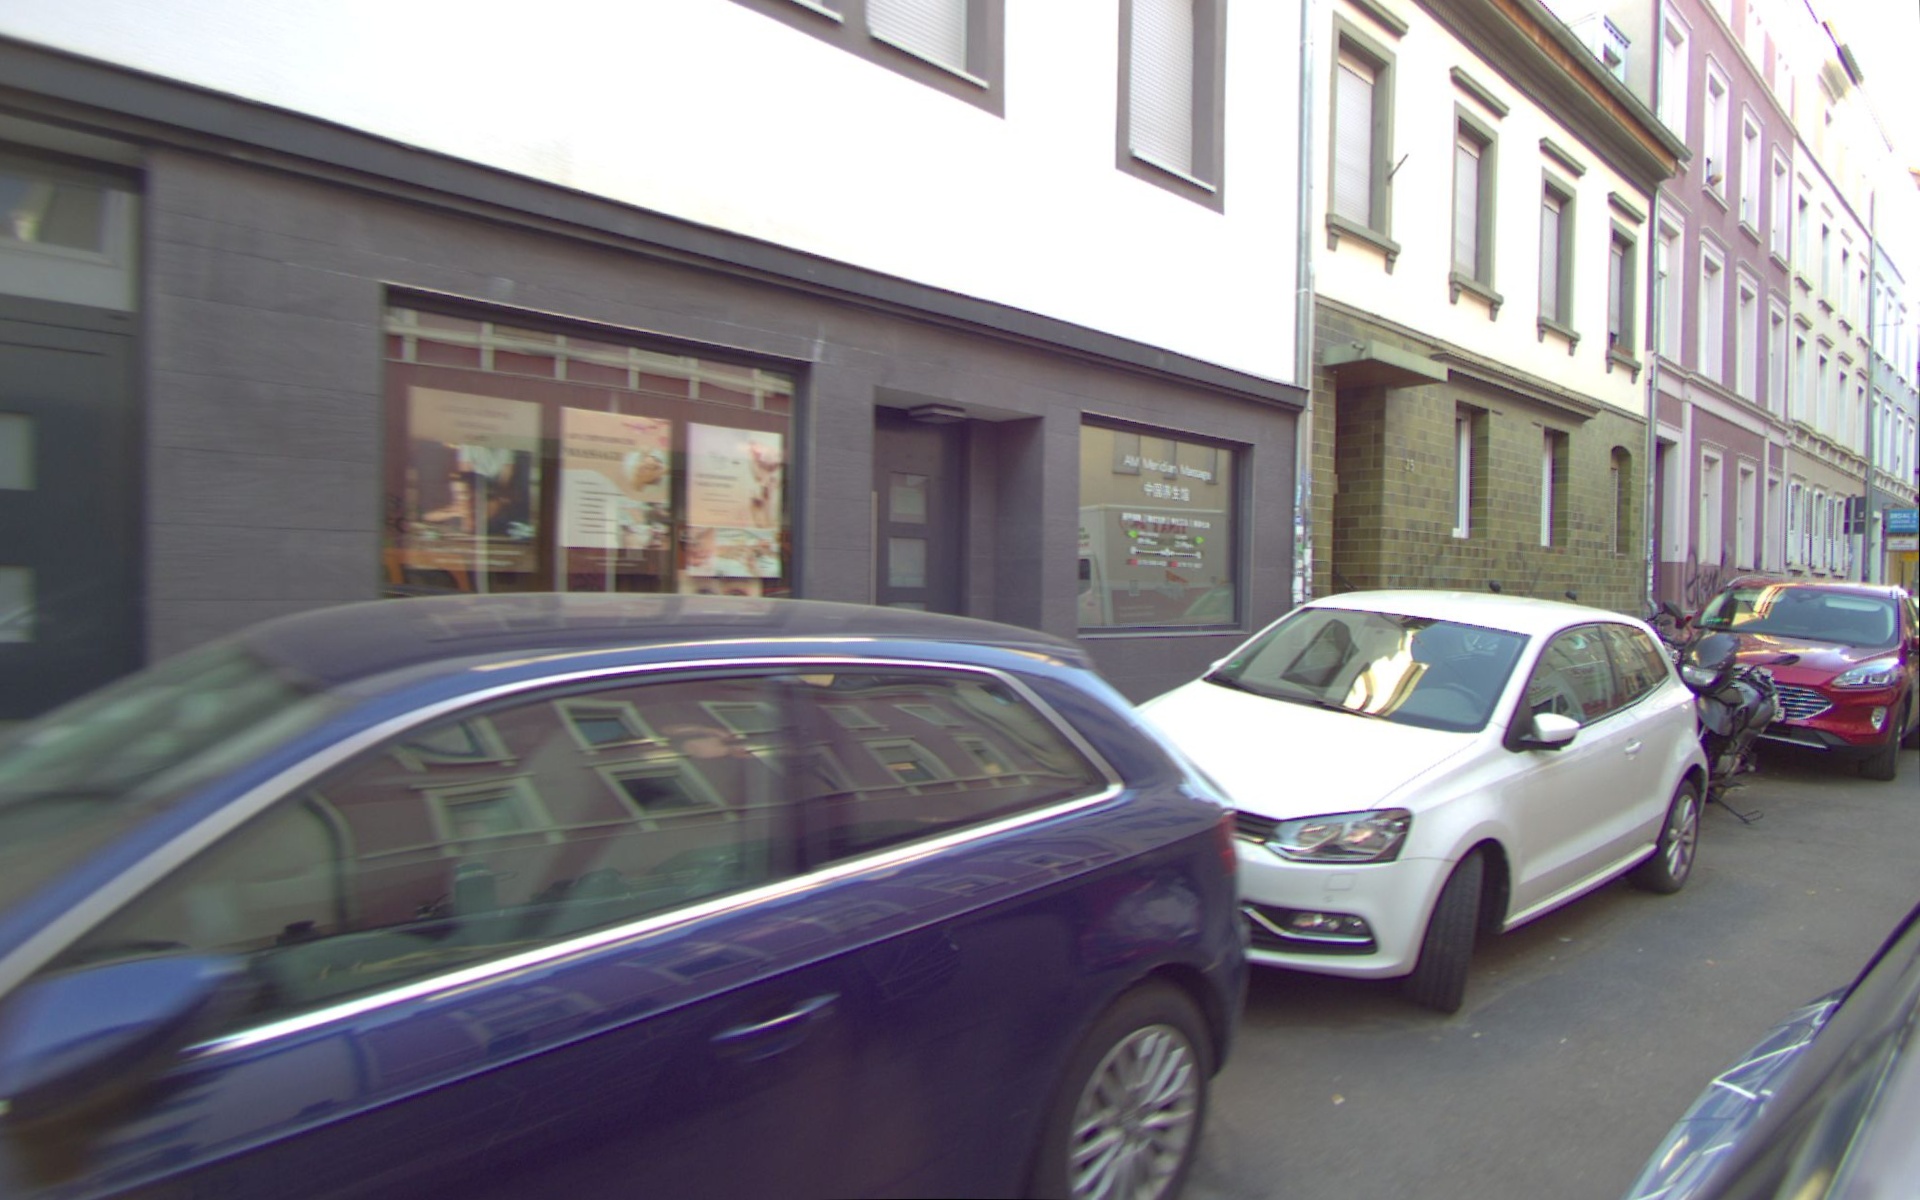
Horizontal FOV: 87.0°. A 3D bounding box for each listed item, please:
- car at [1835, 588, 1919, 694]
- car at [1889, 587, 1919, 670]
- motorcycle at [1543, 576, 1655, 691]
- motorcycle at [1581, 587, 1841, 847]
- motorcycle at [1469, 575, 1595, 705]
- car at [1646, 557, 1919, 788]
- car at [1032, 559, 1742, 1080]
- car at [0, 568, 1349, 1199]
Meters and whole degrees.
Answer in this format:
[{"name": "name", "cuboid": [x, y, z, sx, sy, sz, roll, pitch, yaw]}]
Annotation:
[{"name": "car", "cuboid": [14.443, 0.546, 14.928, 3.811, 1.413, 1.613, -1, 2, -38]}, {"name": "car", "cuboid": [19.057, 0.526, 19.161, 3.812, 1.470, 1.613, -1, 3, -39]}, {"name": "motorcycle", "cuboid": [8.465, 0.404, 13.368, 2.002, 1.414, 0.696, -1, 0, -41]}, {"name": "motorcycle", "cuboid": [5.331, 0.681, 7.124, 2.228, 1.507, 0.989, -1, 3, -42]}, {"name": "motorcycle", "cuboid": [6.788, 0.427, 11.963, 2.002, 1.414, 0.666, -1, 0, -41]}, {"name": "car", "cuboid": [8.405, 0.514, 9.885, 4.331, 1.752, 1.713, -1, 3, -41]}, {"name": "car", "cuboid": [2.242, 0.613, 4.835, 3.707, 1.522, 1.619, -1, 3, -41]}, {"name": "car", "cuboid": [-1.088, 0.675, 1.991, 3.811, 1.413, 1.736, -1, 3, -38]}]
